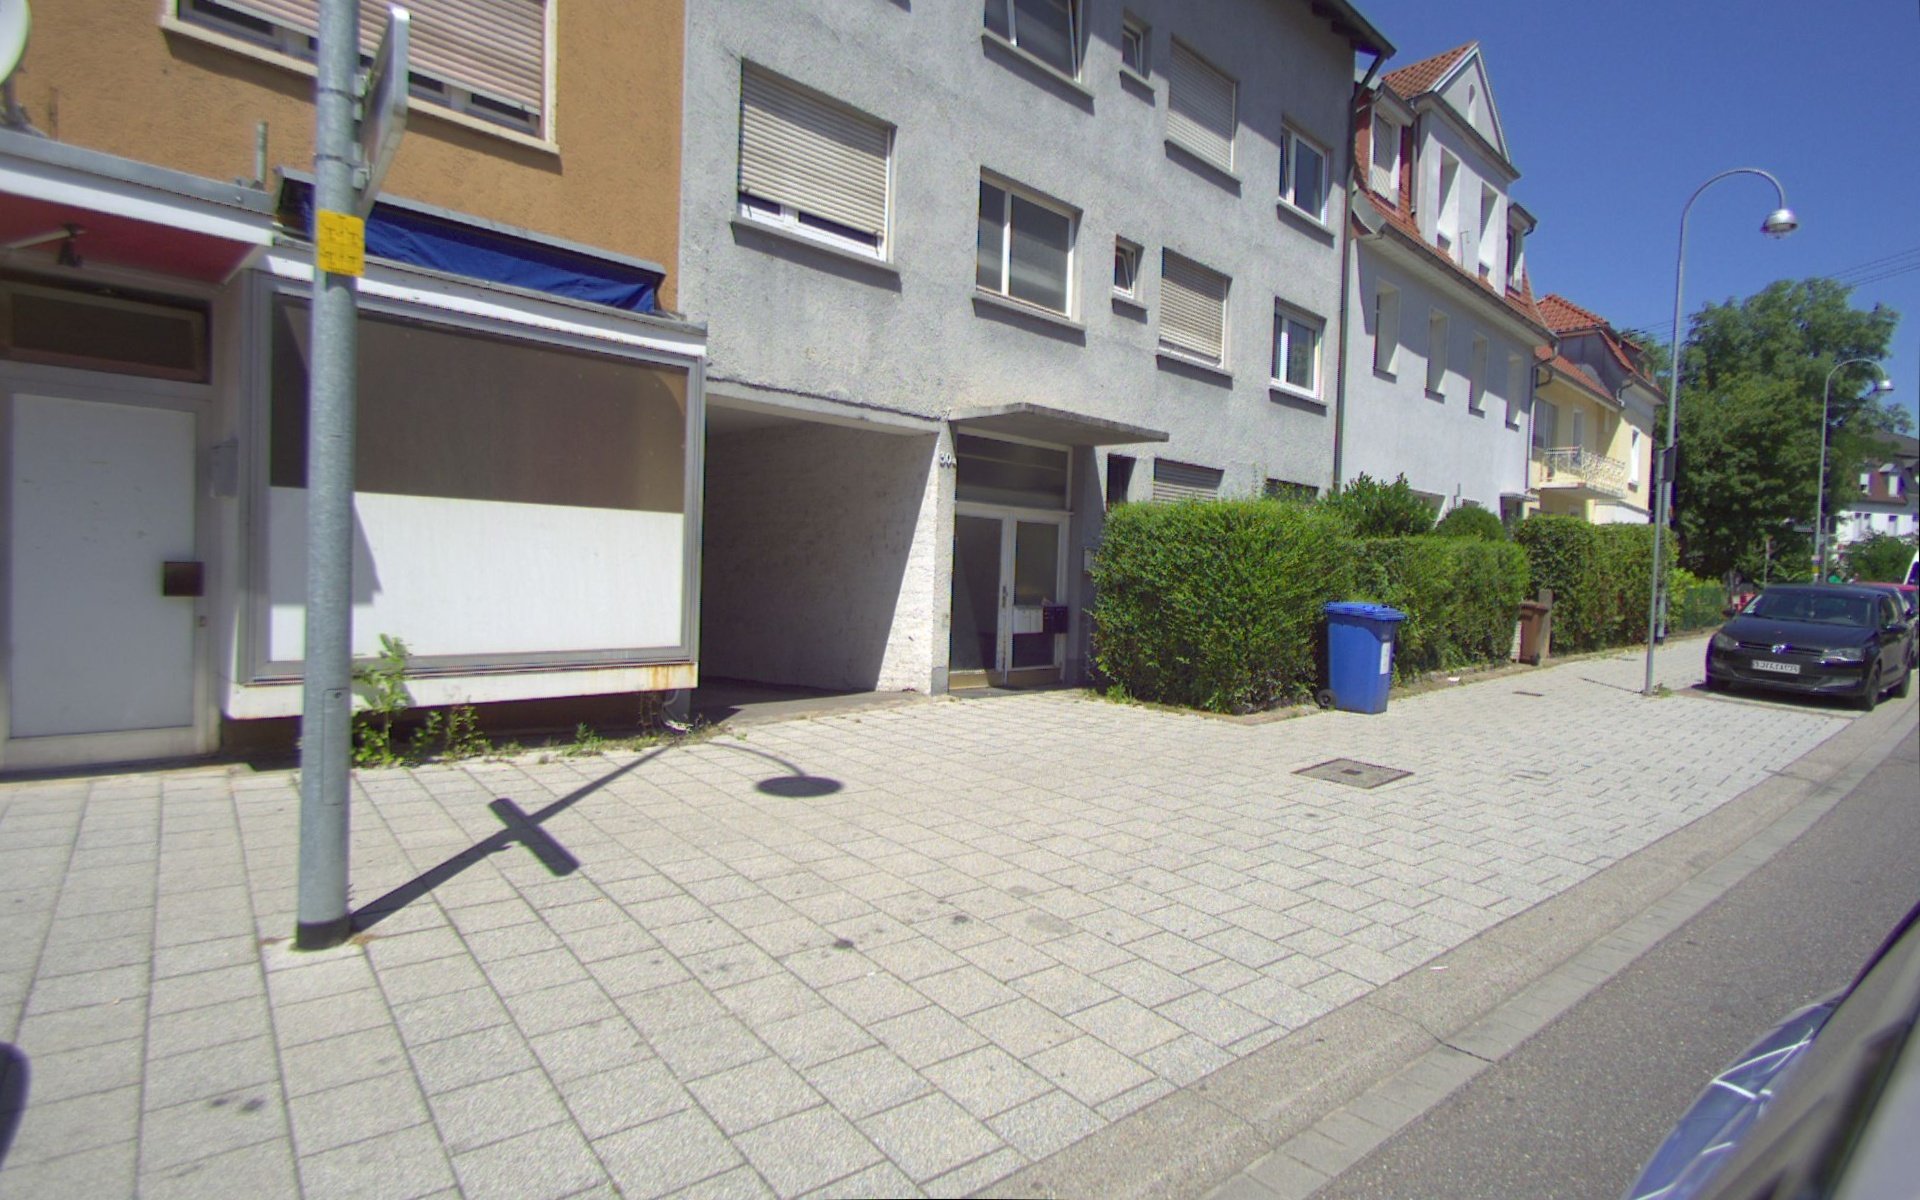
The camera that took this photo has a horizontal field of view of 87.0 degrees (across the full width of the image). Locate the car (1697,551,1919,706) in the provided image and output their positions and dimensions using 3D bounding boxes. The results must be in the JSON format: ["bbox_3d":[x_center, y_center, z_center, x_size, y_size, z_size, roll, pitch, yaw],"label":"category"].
[{"bbox_3d":[11.391,0.293,13.236,3.927,1.652,1.734,0,5,-38],"label":"car"}]

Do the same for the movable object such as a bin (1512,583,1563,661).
[{"bbox_3d":[8.595,0.309,15.062,0.546,1.117,0.488,0,2,-42],"label":"movable object such as a bin"}]

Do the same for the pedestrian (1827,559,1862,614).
[{"bbox_3d":[28.691,-0.447,32.820,0.516,1.726,0.797,6,4,27],"label":"pedestrian"}]

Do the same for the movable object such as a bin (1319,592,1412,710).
[{"bbox_3d":[4.045,0.482,10.099,0.636,1.090,0.594,-1,4,-42],"label":"movable object such as a bin"}]

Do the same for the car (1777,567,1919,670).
[{"bbox_3d":[16.308,0.254,18.162,4.641,1.492,1.807,-1,6,-43],"label":"car"}]

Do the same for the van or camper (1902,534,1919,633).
[{"bbox_3d":[26.902,-0.418,26.858,6.071,2.496,2.113,-2,5,-42],"label":"van or camper"}]

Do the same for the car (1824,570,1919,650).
[{"bbox_3d":[20.129,0.173,21.791,4.080,1.548,1.806,-1,3,-43],"label":"car"}]

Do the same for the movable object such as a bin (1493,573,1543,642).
[{"bbox_3d":[9.198,0.106,16.683,0.660,1.098,0.500,0,2,-41],"label":"movable object such as a bin"}]
